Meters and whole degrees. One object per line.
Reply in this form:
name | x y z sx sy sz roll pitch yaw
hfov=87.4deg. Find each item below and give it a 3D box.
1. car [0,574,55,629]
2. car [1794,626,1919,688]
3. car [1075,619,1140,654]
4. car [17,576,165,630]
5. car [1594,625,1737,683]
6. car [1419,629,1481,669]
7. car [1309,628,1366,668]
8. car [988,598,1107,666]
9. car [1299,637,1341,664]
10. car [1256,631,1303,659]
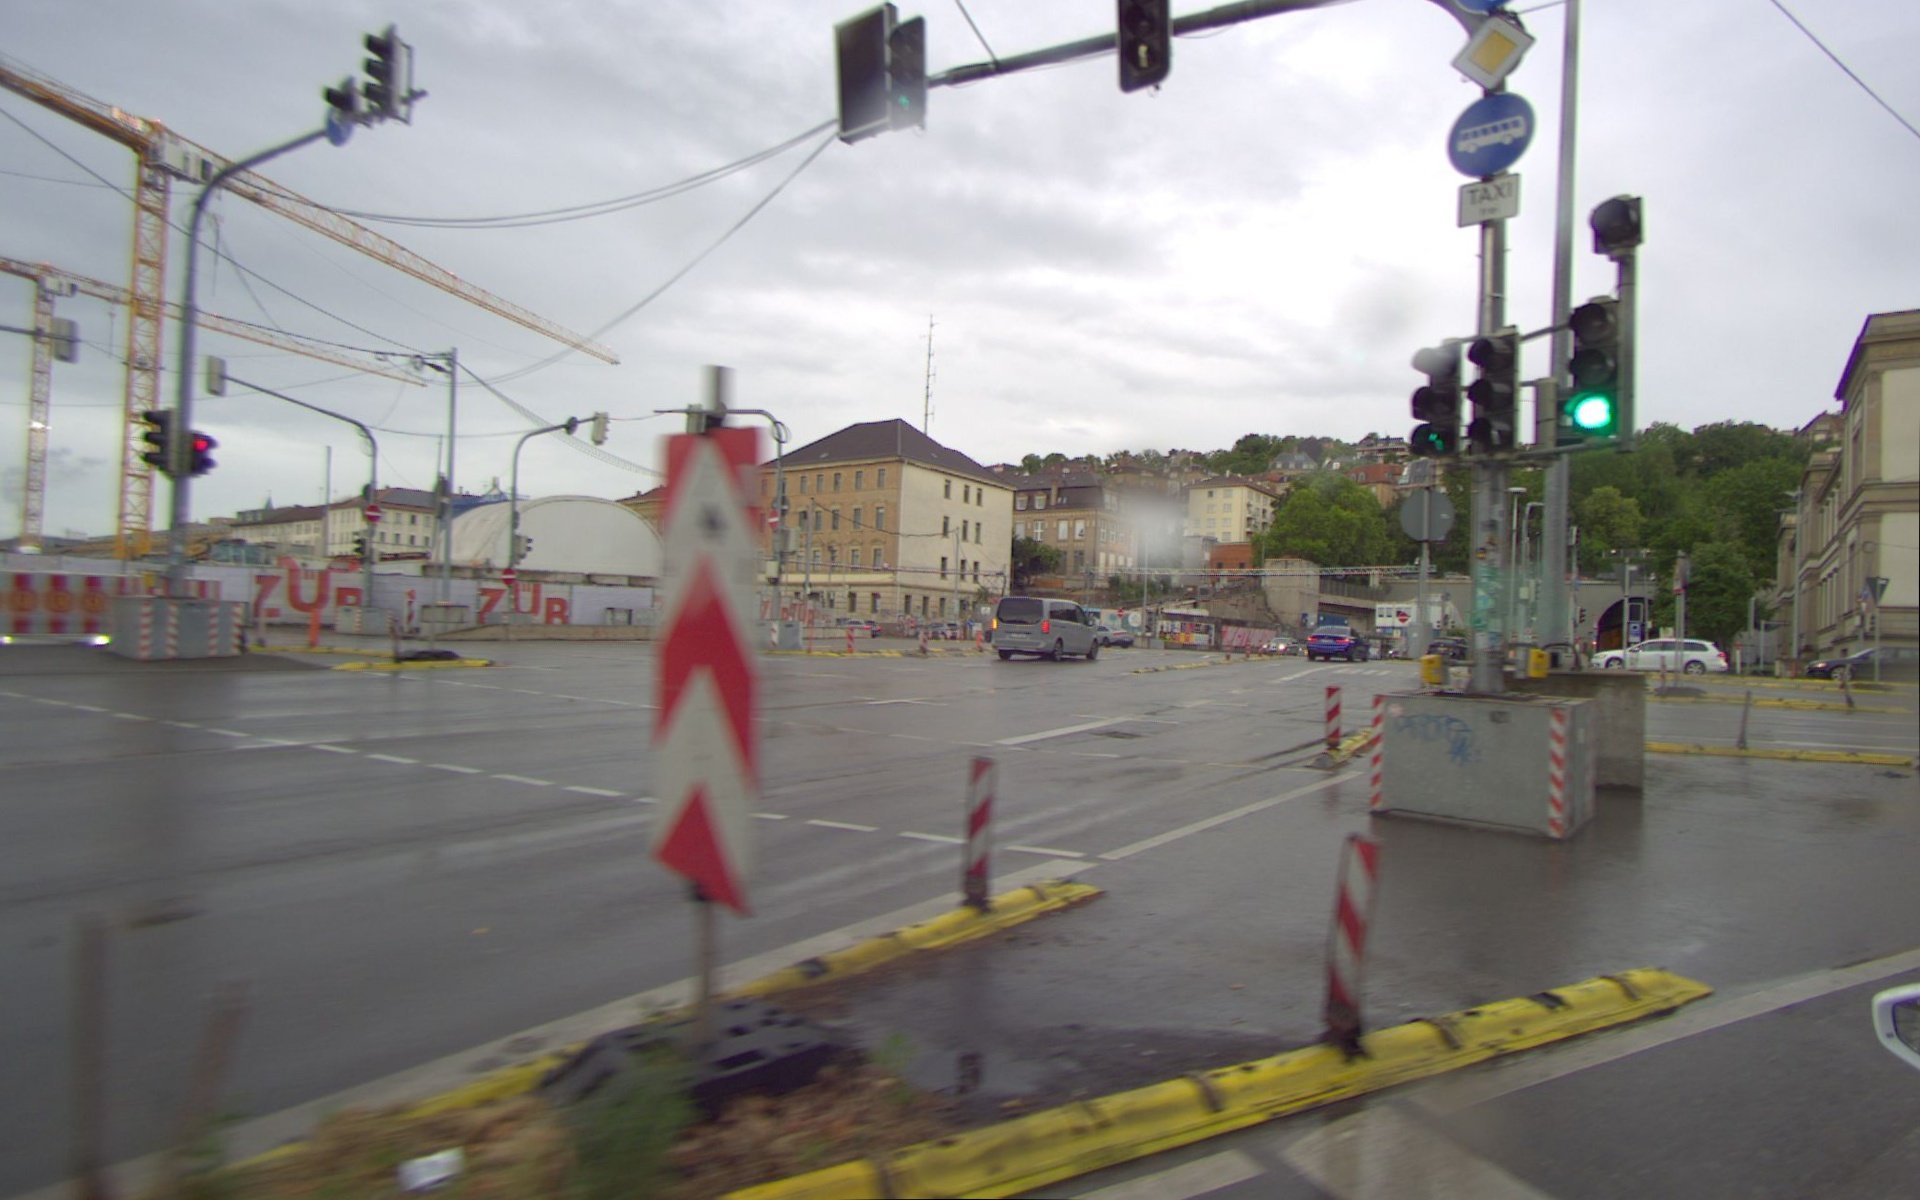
car | -32.571 0.023 33.079 4.333 1.740 2.001 1 0 14
car | 33.778 2.098 36.902 4.612 2.040 1.994 2 0 35
car | 9.651 2.372 66.026 1.976 2.040 4.260 2 0 -29
car | -27.148 0.087 31.414 3.726 1.586 1.861 1 0 19
car | 28.384 2.114 40.572 4.564 2.040 1.994 2 0 35
car | 26.854 2.632 54.998 1.972 2.040 3.978 2 0 42
car | 15.610 1.941 41.422 1.962 1.457 3.998 2 -1 24
car | 2.804 0.973 30.981 1.963 1.863 4.677 2 0 28
car | 30.409 4.249 84.834 1.971 2.040 3.978 2 0 42
car | 25.090 3.470 78.807 1.971 2.040 3.978 2 0 42
